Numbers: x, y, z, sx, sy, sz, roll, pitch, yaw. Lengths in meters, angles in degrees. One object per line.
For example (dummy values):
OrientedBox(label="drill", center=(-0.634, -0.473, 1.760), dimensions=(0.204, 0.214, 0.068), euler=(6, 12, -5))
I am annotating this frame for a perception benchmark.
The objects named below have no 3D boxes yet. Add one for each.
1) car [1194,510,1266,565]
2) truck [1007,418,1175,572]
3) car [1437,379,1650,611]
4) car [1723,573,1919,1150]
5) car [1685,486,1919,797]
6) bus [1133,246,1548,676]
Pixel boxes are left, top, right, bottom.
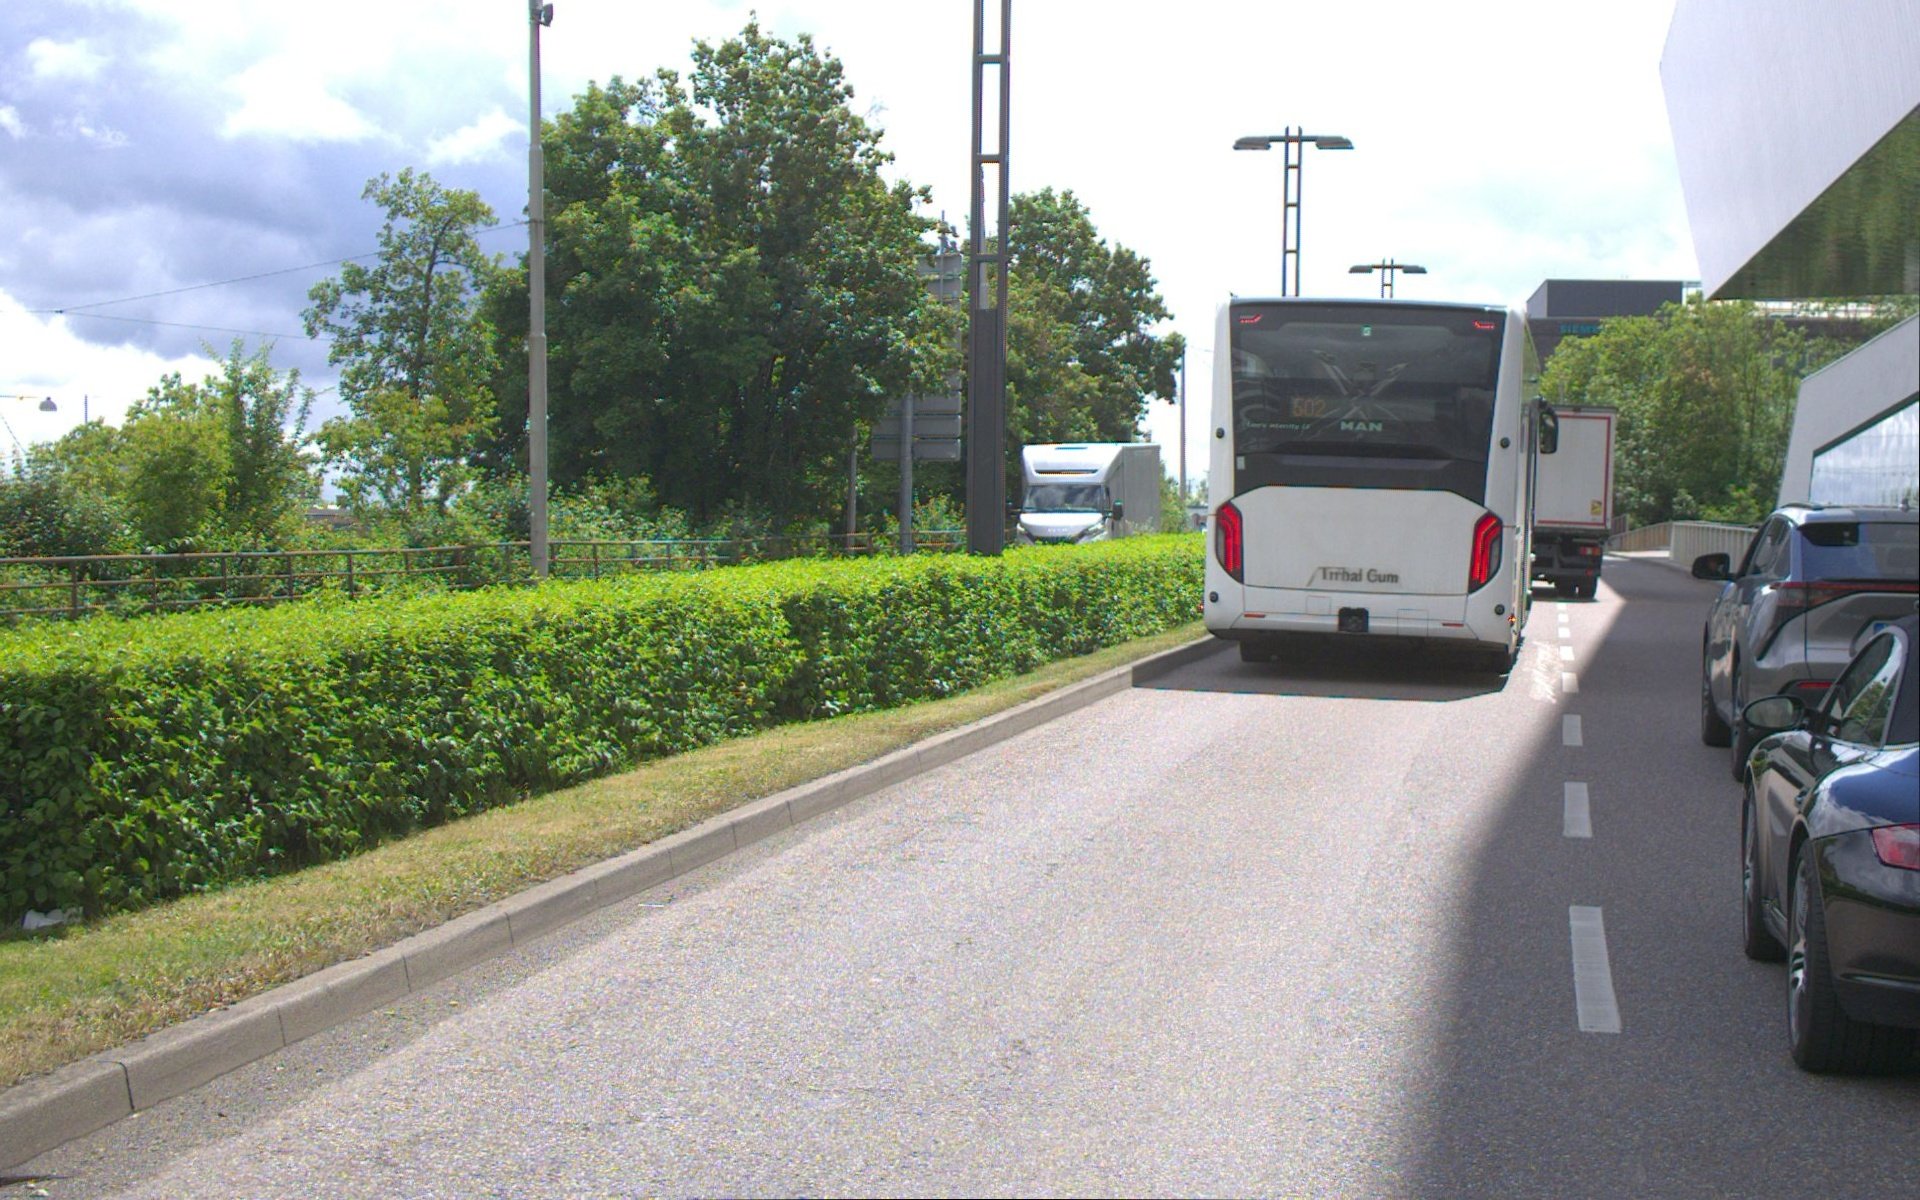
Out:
OrientedBox(label="car", center=(9.620, -2.208, 122.212), dimensions=(1.995, 1.707, 3.997), euler=(2, -1, 12))
OrientedBox(label="truck", center=(3.113, -2.317, 78.830), dimensions=(2.197, 2.951, 8.946), euler=(2, -1, 12))
OrientedBox(label="car", center=(10.353, -1.733, 61.453), dimensions=(3.337, 3.492, 9.337), euler=(3, -1, 9))
OrientedBox(label="car", center=(3.387, 0.648, 10.384), dimensions=(1.835, 1.321, 3.999), euler=(1, 2, 9))
OrientedBox(label="car", center=(5.486, 0.181, 20.344), dimensions=(1.994, 1.631, 3.999), euler=(3, 2, 8))
OrientedBox(label="bus", center=(4.073, -1.279, 33.698), dimensions=(3.073, 3.350, 12.218), euler=(3, 2, 10))
